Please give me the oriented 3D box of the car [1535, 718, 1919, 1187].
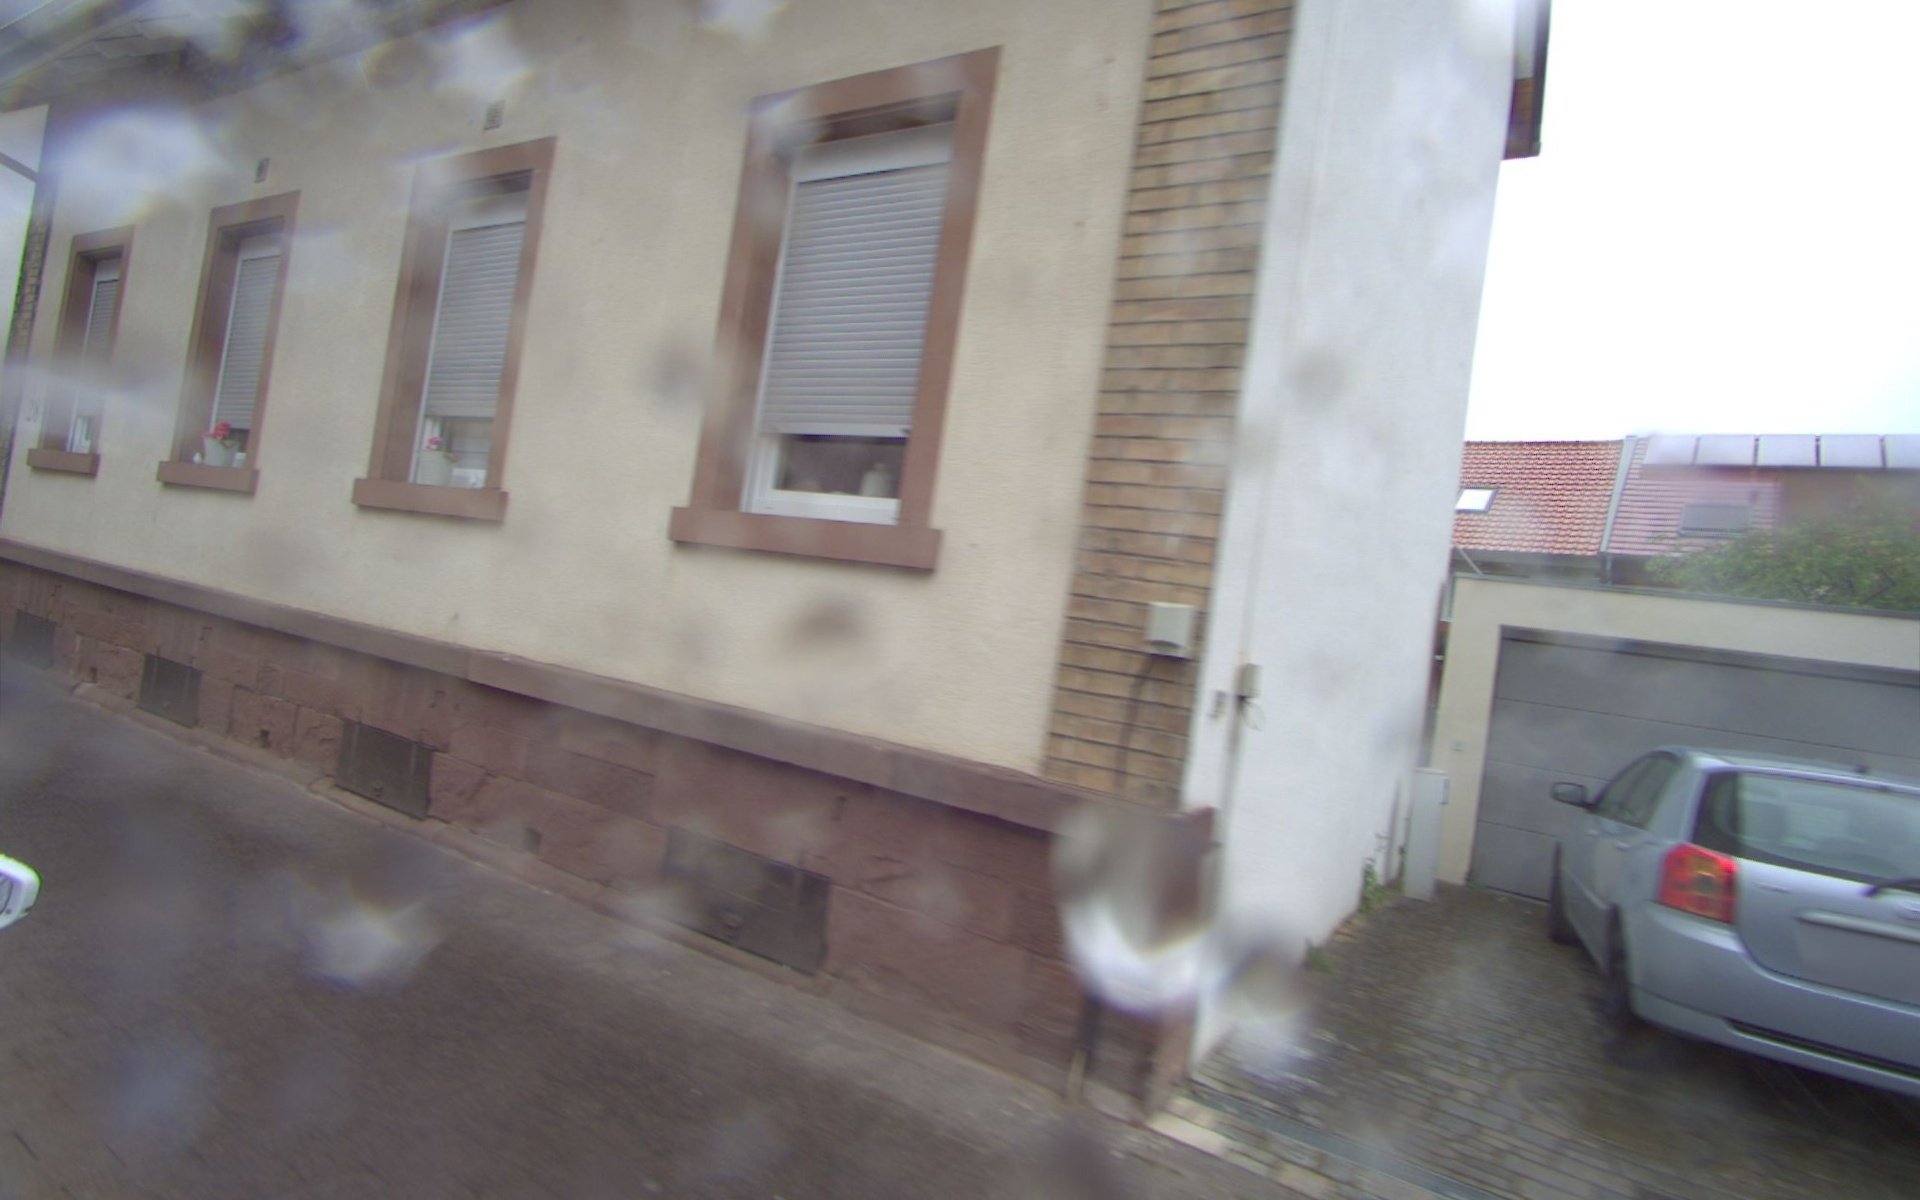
[{"bbox_3d":[4.320,1.550,5.302,1.819,1.513,3.911,7,-4,26],"label":"car"}]
